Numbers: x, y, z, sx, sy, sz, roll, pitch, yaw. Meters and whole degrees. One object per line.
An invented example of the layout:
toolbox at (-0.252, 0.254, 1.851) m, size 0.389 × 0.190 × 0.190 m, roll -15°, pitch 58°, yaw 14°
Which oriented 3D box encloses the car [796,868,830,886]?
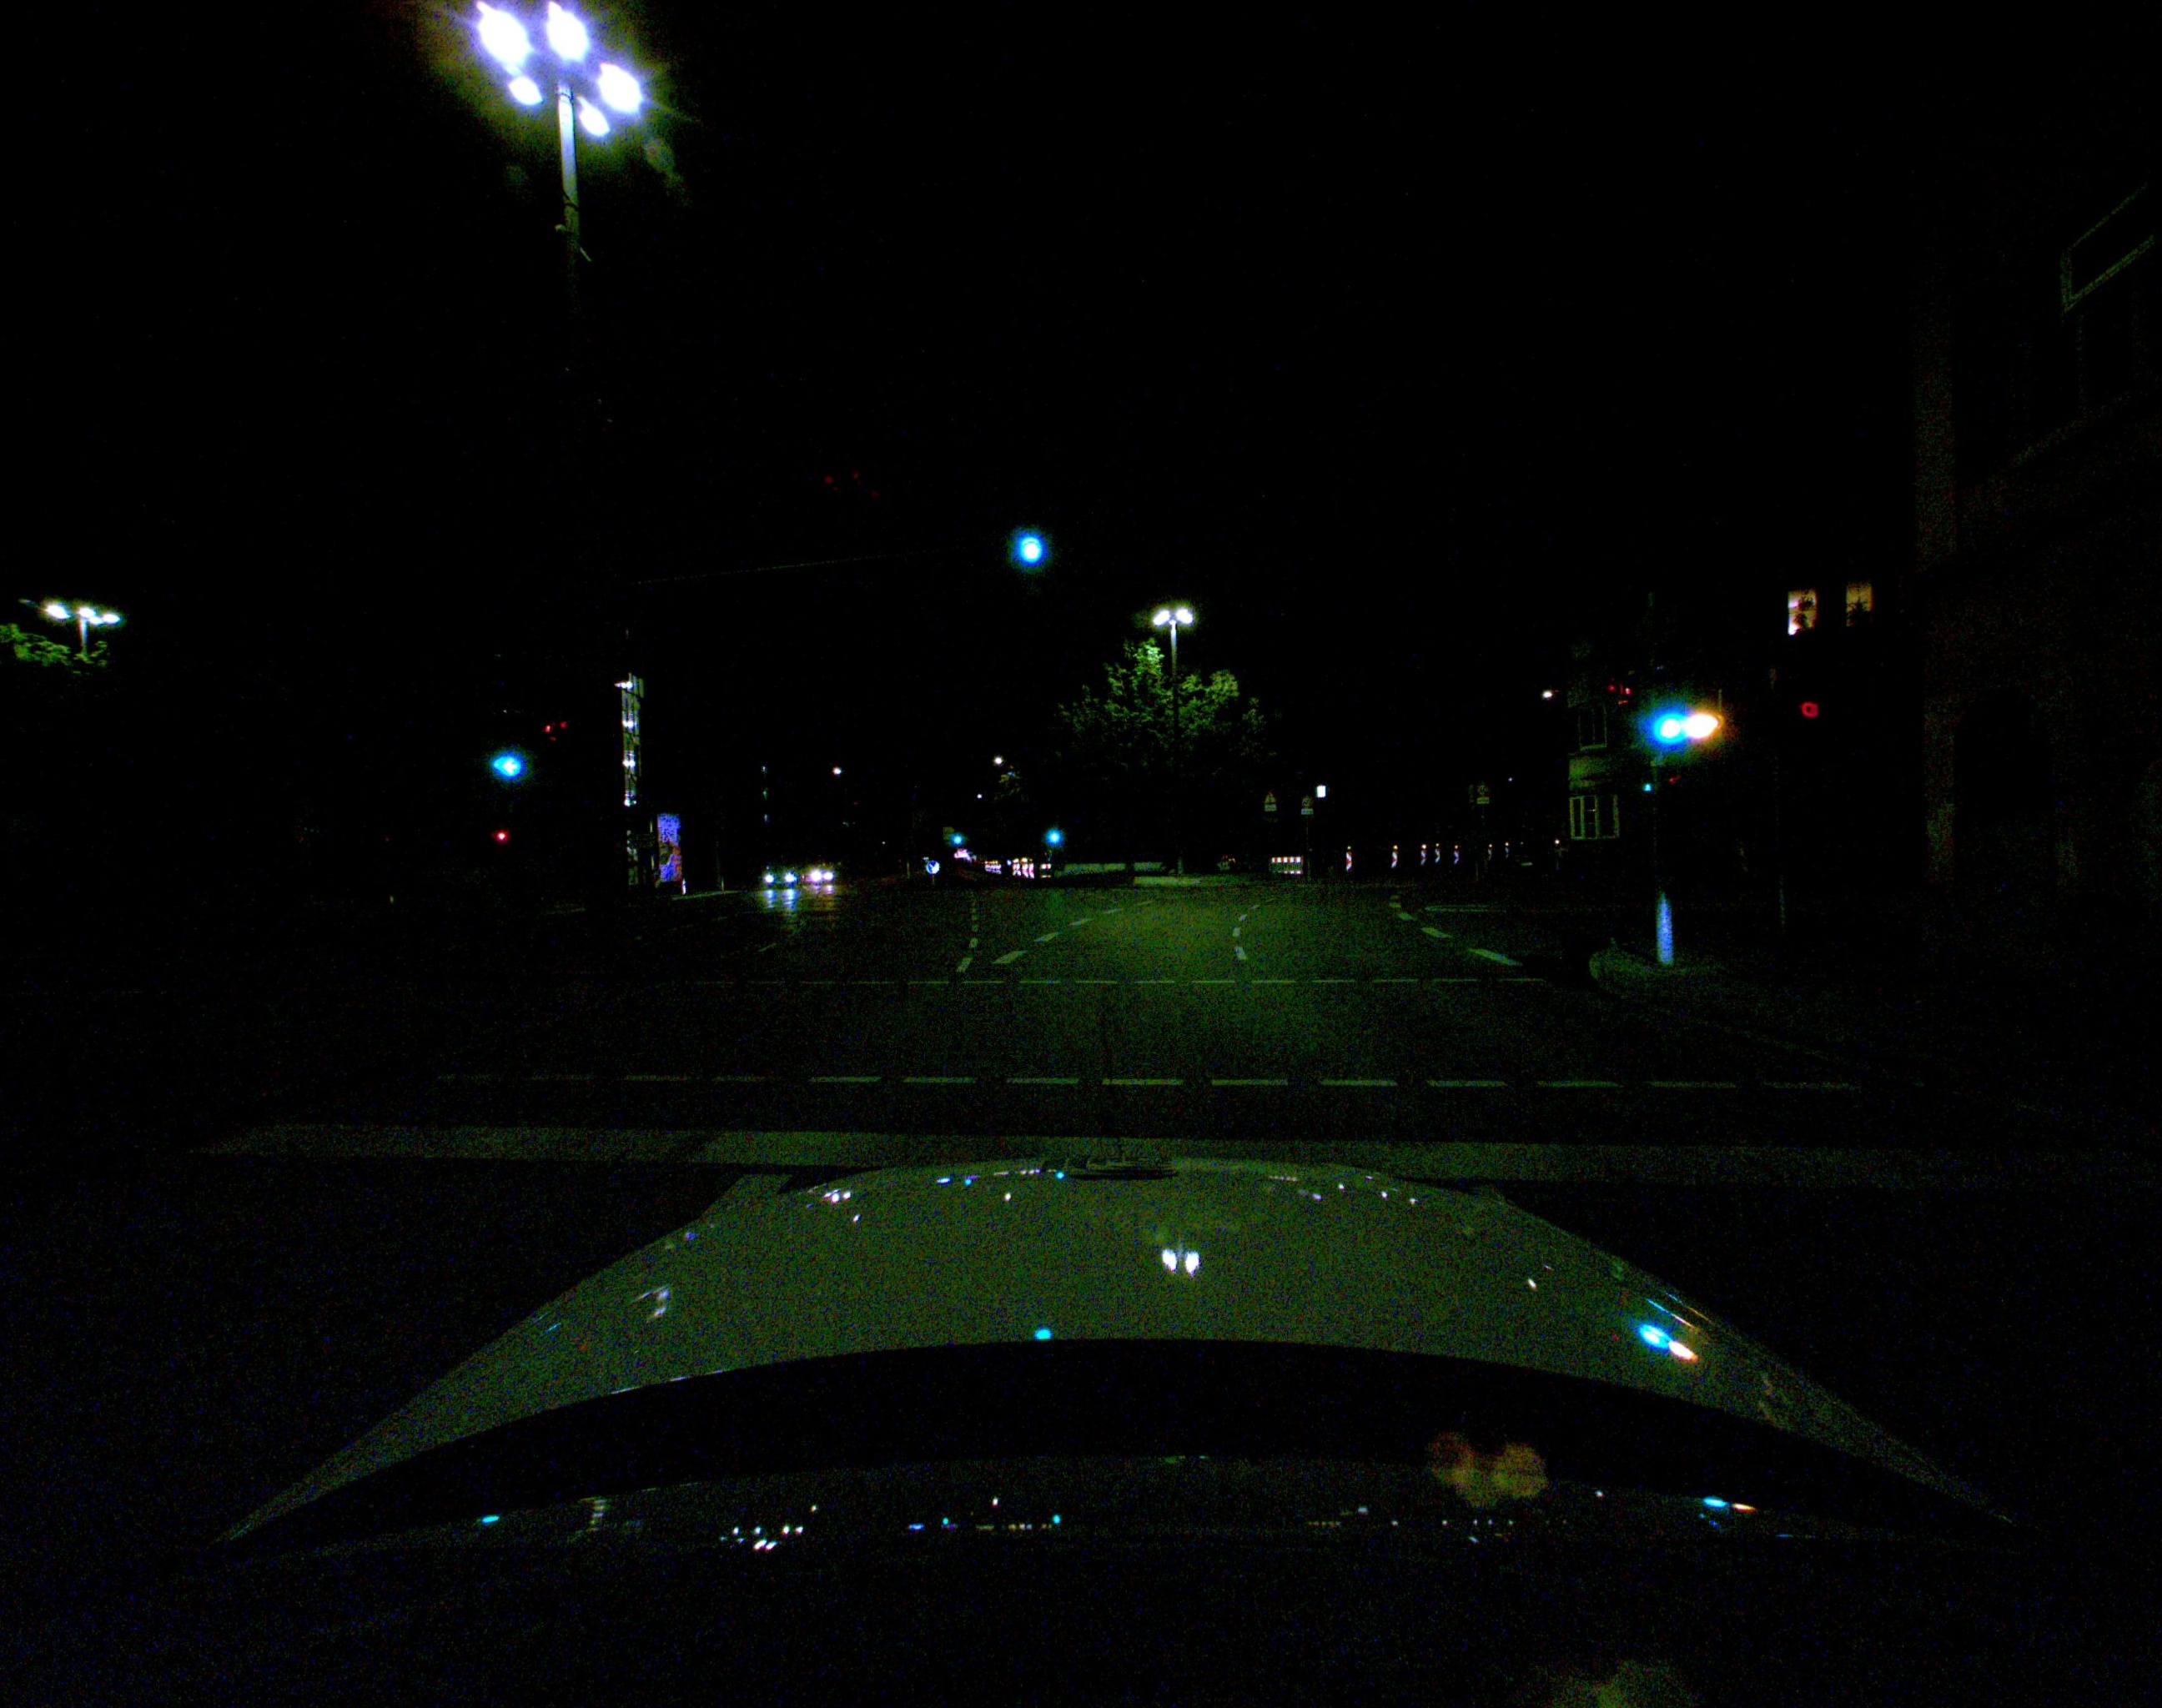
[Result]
car at (-20.467, 1.727, 62.250) m, size 1.756 × 1.322 × 3.538 m, roll -2°, pitch -1°, yaw -7°

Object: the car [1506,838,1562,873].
car at (22.621, 0.059, 40.620) m, size 1.711 × 1.612 × 3.646 m, roll -2°, pitch -1°, yaw 41°

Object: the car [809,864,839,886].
car at (-21.296, 1.703, 67.585) m, size 1.756 × 1.728 × 3.538 m, roll -2°, pitch -1°, yaw -7°

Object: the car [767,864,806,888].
car at (-19.831, 1.464, 54.966) m, size 1.614 × 1.515 × 3.990 m, roll -2°, pitch -1°, yaw -7°
